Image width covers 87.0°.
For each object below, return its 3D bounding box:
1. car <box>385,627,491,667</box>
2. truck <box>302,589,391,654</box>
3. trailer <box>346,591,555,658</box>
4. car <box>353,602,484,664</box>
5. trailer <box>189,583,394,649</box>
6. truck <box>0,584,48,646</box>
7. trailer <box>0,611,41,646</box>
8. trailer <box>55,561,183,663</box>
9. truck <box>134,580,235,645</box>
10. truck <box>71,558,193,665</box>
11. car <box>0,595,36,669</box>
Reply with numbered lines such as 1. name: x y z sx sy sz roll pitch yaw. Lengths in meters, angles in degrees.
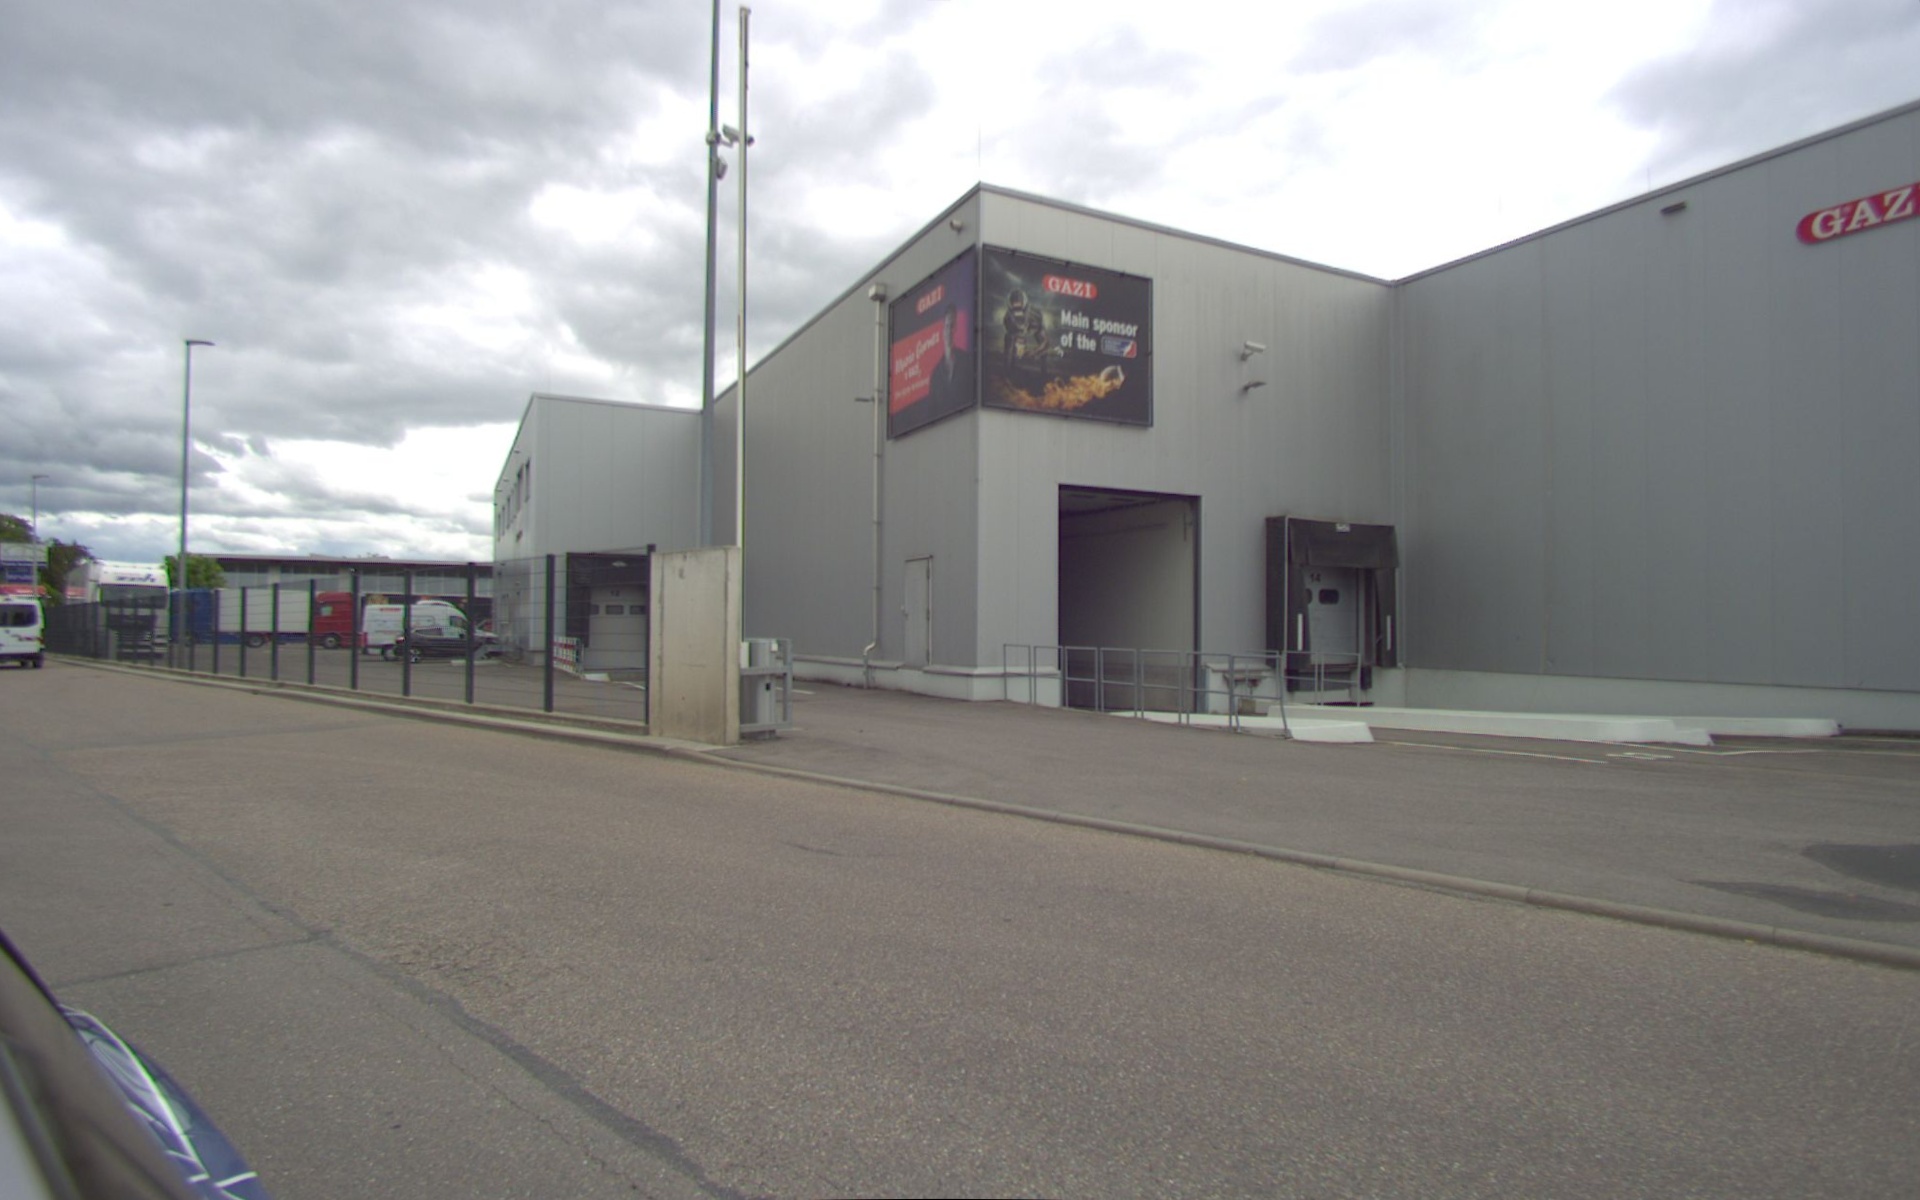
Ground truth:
1. car: -22.636 2.025 43.978 4.010 1.589 1.950 -1 -2 -27
2. truck: -42.085 1.549 69.594 4.797 4.237 3.058 3 -3 -26
3. trailer: -36.166 1.846 72.480 12.962 4.245 3.058 3 -4 -26
4. car: -25.584 1.529 47.906 5.341 2.751 2.248 -1 -2 -29
5. trailer: -47.424 1.256 72.444 11.841 4.164 3.057 3 -4 -30
6. truck: -62.132 1.003 66.188 5.669 3.879 2.981 -1 -4 42
7. trailer: -66.513 1.966 70.115 12.045 2.209 3.005 -1 -4 42
8. trailer: -40.001 0.708 47.861 3.320 4.192 13.857 4 -4 -44
9. truck: -52.578 0.920 68.662 3.048 4.164 4.813 -1 -4 42
10. truck: -35.103 0.583 42.857 3.320 4.192 5.630 4 -4 -44
11. car: -33.336 1.109 34.976 1.970 2.434 5.261 0 -2 -43
